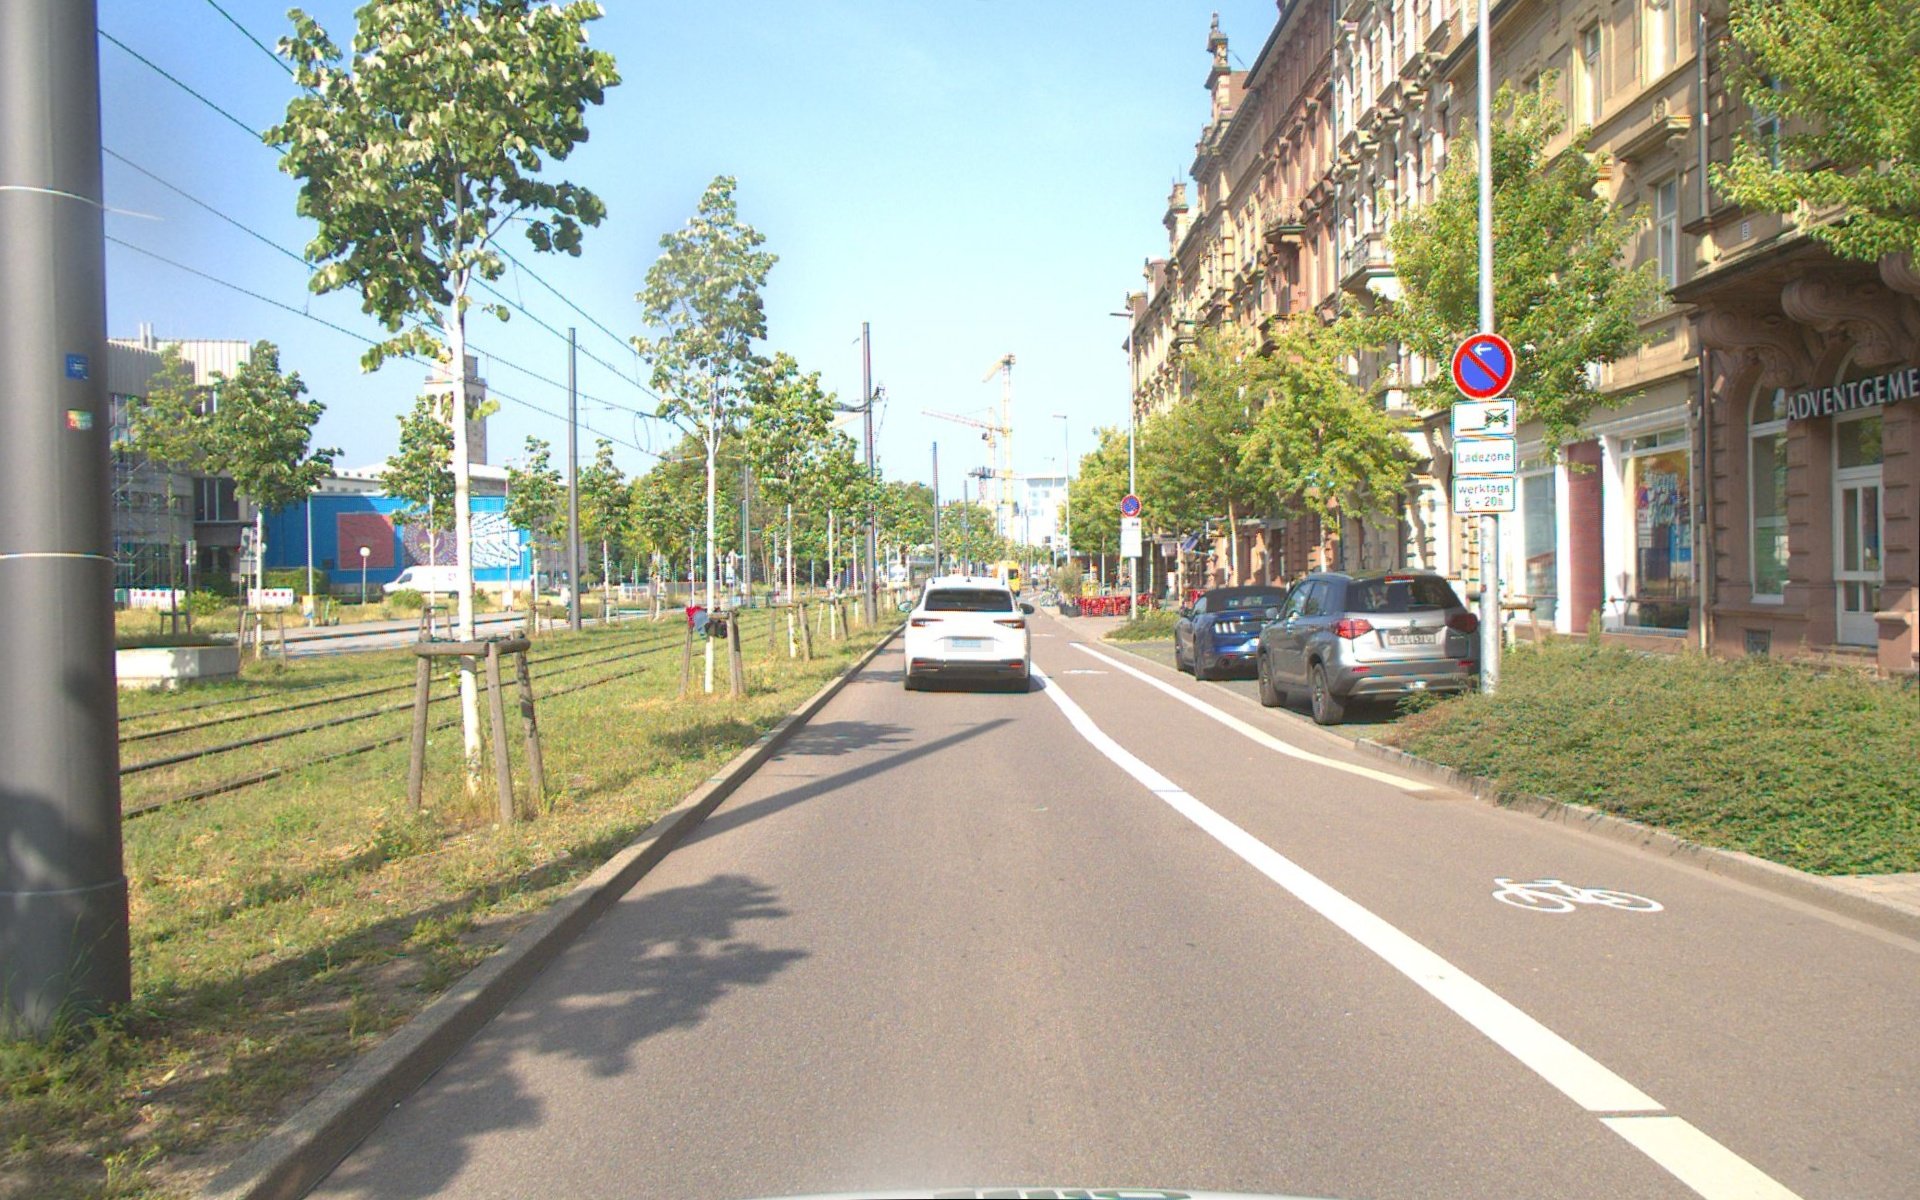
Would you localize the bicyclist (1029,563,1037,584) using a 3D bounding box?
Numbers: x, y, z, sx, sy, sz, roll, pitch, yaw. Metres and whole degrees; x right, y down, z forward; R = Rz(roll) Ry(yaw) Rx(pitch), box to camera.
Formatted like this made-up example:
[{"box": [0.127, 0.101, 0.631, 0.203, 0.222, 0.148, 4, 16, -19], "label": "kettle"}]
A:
[{"box": [6.749, -2.425, 152.682, 0.694, 1.928, 0.843, -1, 1, 1], "label": "bicyclist"}]

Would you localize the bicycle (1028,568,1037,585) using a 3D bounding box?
[{"box": [6.734, -2.203, 152.847, 0.765, 1.522, 2.801, -1, 1, 1], "label": "bicycle"}]

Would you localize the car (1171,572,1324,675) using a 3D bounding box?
[{"box": [4.524, 0.300, 26.677, 1.701, 1.420, 4.716, -2, 1, 1], "label": "car"}]

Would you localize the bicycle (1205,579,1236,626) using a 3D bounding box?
[{"box": [6.354, 0.047, 40.400, 0.482, 1.113, 1.827, -1, 1, 0], "label": "bicycle"}]

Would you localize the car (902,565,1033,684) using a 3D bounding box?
[{"box": [0.110, 0.300, 24.733, 1.780, 1.617, 4.407, 0, 1, 0], "label": "car"}]

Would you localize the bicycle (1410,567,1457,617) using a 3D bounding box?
[{"box": [10.821, -0.190, 37.849, 0.442, 1.102, 1.445, -1, 1, -9], "label": "bicycle"}]

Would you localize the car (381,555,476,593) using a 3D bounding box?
[{"box": [-40.596, -1.961, 126.353, 6.776, 2.684, 2.499, 1, 0, -21], "label": "car"}]

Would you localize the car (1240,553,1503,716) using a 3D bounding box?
[{"box": [4.616, 0.315, 19.204, 1.734, 1.616, 4.245, -2, 1, -3], "label": "car"}]

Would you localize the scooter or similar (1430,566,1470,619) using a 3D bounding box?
[{"box": [10.823, -0.178, 36.558, 0.594, 1.144, 0.932, -1, 1, 0], "label": "scooter or similar"}]

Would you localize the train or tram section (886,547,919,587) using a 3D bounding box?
[{"box": [-5.593, -3.197, 162.908, 2.839, 3.649, 12.476, -1, 1, 0], "label": "train or tram section"}]

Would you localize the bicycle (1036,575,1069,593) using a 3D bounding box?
[{"box": [5.406, -0.925, 96.625, 1.894, 0.962, 0.441, -3, 1, 4], "label": "bicycle"}]

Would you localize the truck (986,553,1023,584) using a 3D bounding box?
[{"box": [3.489, -2.526, 131.236, 2.170, 2.358, 5.883, -1, 1, -6], "label": "truck"}]

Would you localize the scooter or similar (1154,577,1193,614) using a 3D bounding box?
[{"box": [7.361, -0.156, 57.062, 1.230, 1.177, 0.340, -3, 0, 4], "label": "scooter or similar"}]

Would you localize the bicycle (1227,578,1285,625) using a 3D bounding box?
[{"box": [7.084, 0.040, 39.517, 0.447, 1.101, 1.867, -2, -1, 41], "label": "bicycle"}]

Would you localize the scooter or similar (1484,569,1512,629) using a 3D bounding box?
[{"box": [10.596, -0.036, 32.587, 0.282, 1.154, 1.089, -1, 1, 6], "label": "scooter or similar"}]

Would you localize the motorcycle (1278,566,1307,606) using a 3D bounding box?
[{"box": [10.257, -0.439, 50.995, 0.454, 1.196, 1.945, -3, 1, 0], "label": "motorcycle"}]

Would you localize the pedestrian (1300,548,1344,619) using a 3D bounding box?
[{"box": [9.134, -0.411, 41.748, 0.807, 1.726, 0.792, -3, 1, -4], "label": "pedestrian"}]

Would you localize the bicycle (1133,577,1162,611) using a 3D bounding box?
[{"box": [6.599, -0.217, 58.228, 0.584, 1.142, 1.924, -1, 1, -6], "label": "bicycle"}]

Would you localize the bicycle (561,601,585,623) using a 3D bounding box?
[{"box": [-18.703, 0.568, 79.940, 0.648, 0.978, 2.078, -2, 0, 0], "label": "bicycle"}]

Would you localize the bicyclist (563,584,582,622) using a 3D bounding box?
[{"box": [-18.721, 0.143, 79.927, 0.634, 1.766, 0.919, -2, 0, 0], "label": "bicyclist"}]

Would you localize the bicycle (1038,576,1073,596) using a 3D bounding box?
[{"box": [5.342, -0.776, 92.589, 1.894, 1.003, 0.471, -3, 1, 1], "label": "bicycle"}]

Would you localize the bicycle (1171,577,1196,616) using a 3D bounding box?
[{"box": [6.785, -0.113, 50.221, 0.494, 1.078, 1.715, -2, 1, 15], "label": "bicycle"}]

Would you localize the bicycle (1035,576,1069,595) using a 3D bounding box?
[{"box": [5.346, -0.850, 96.143, 1.894, 1.030, 0.441, -3, 1, 4], "label": "bicycle"}]

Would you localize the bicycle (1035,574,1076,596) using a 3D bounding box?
[{"box": [5.247, -0.822, 91.238, 2.193, 1.123, 0.588, -3, 1, 1], "label": "bicycle"}]
